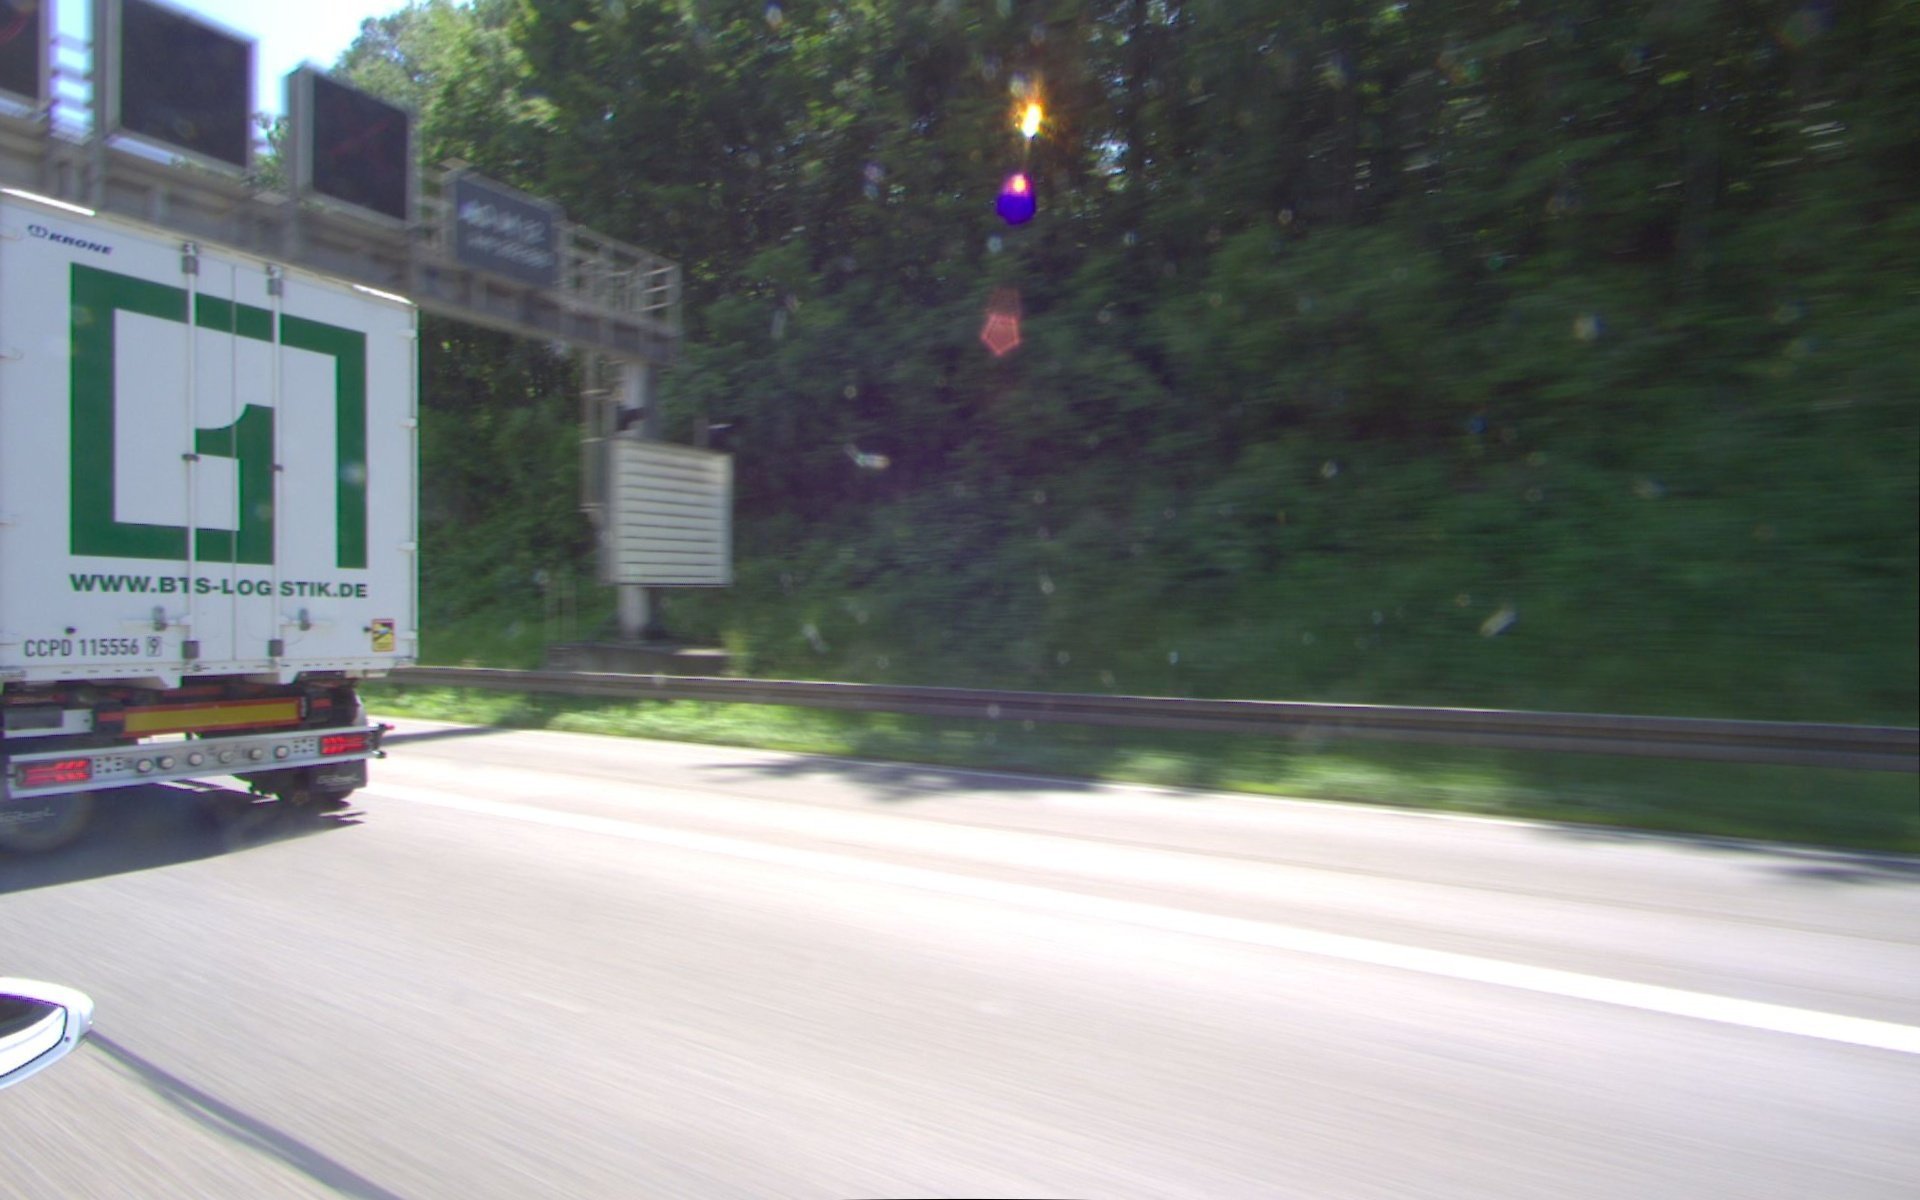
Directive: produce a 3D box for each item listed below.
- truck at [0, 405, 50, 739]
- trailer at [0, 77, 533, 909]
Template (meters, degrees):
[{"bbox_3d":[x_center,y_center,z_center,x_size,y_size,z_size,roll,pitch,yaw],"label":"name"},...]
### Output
[{"bbox_3d":[-16.679,-0.313,14.387,10.473,4.112,2.675,-1,-1,32],"label":"truck"},{"bbox_3d":[-8.038,-0.476,8.886,9.921,4.230,2.675,0,-1,32],"label":"trailer"}]
